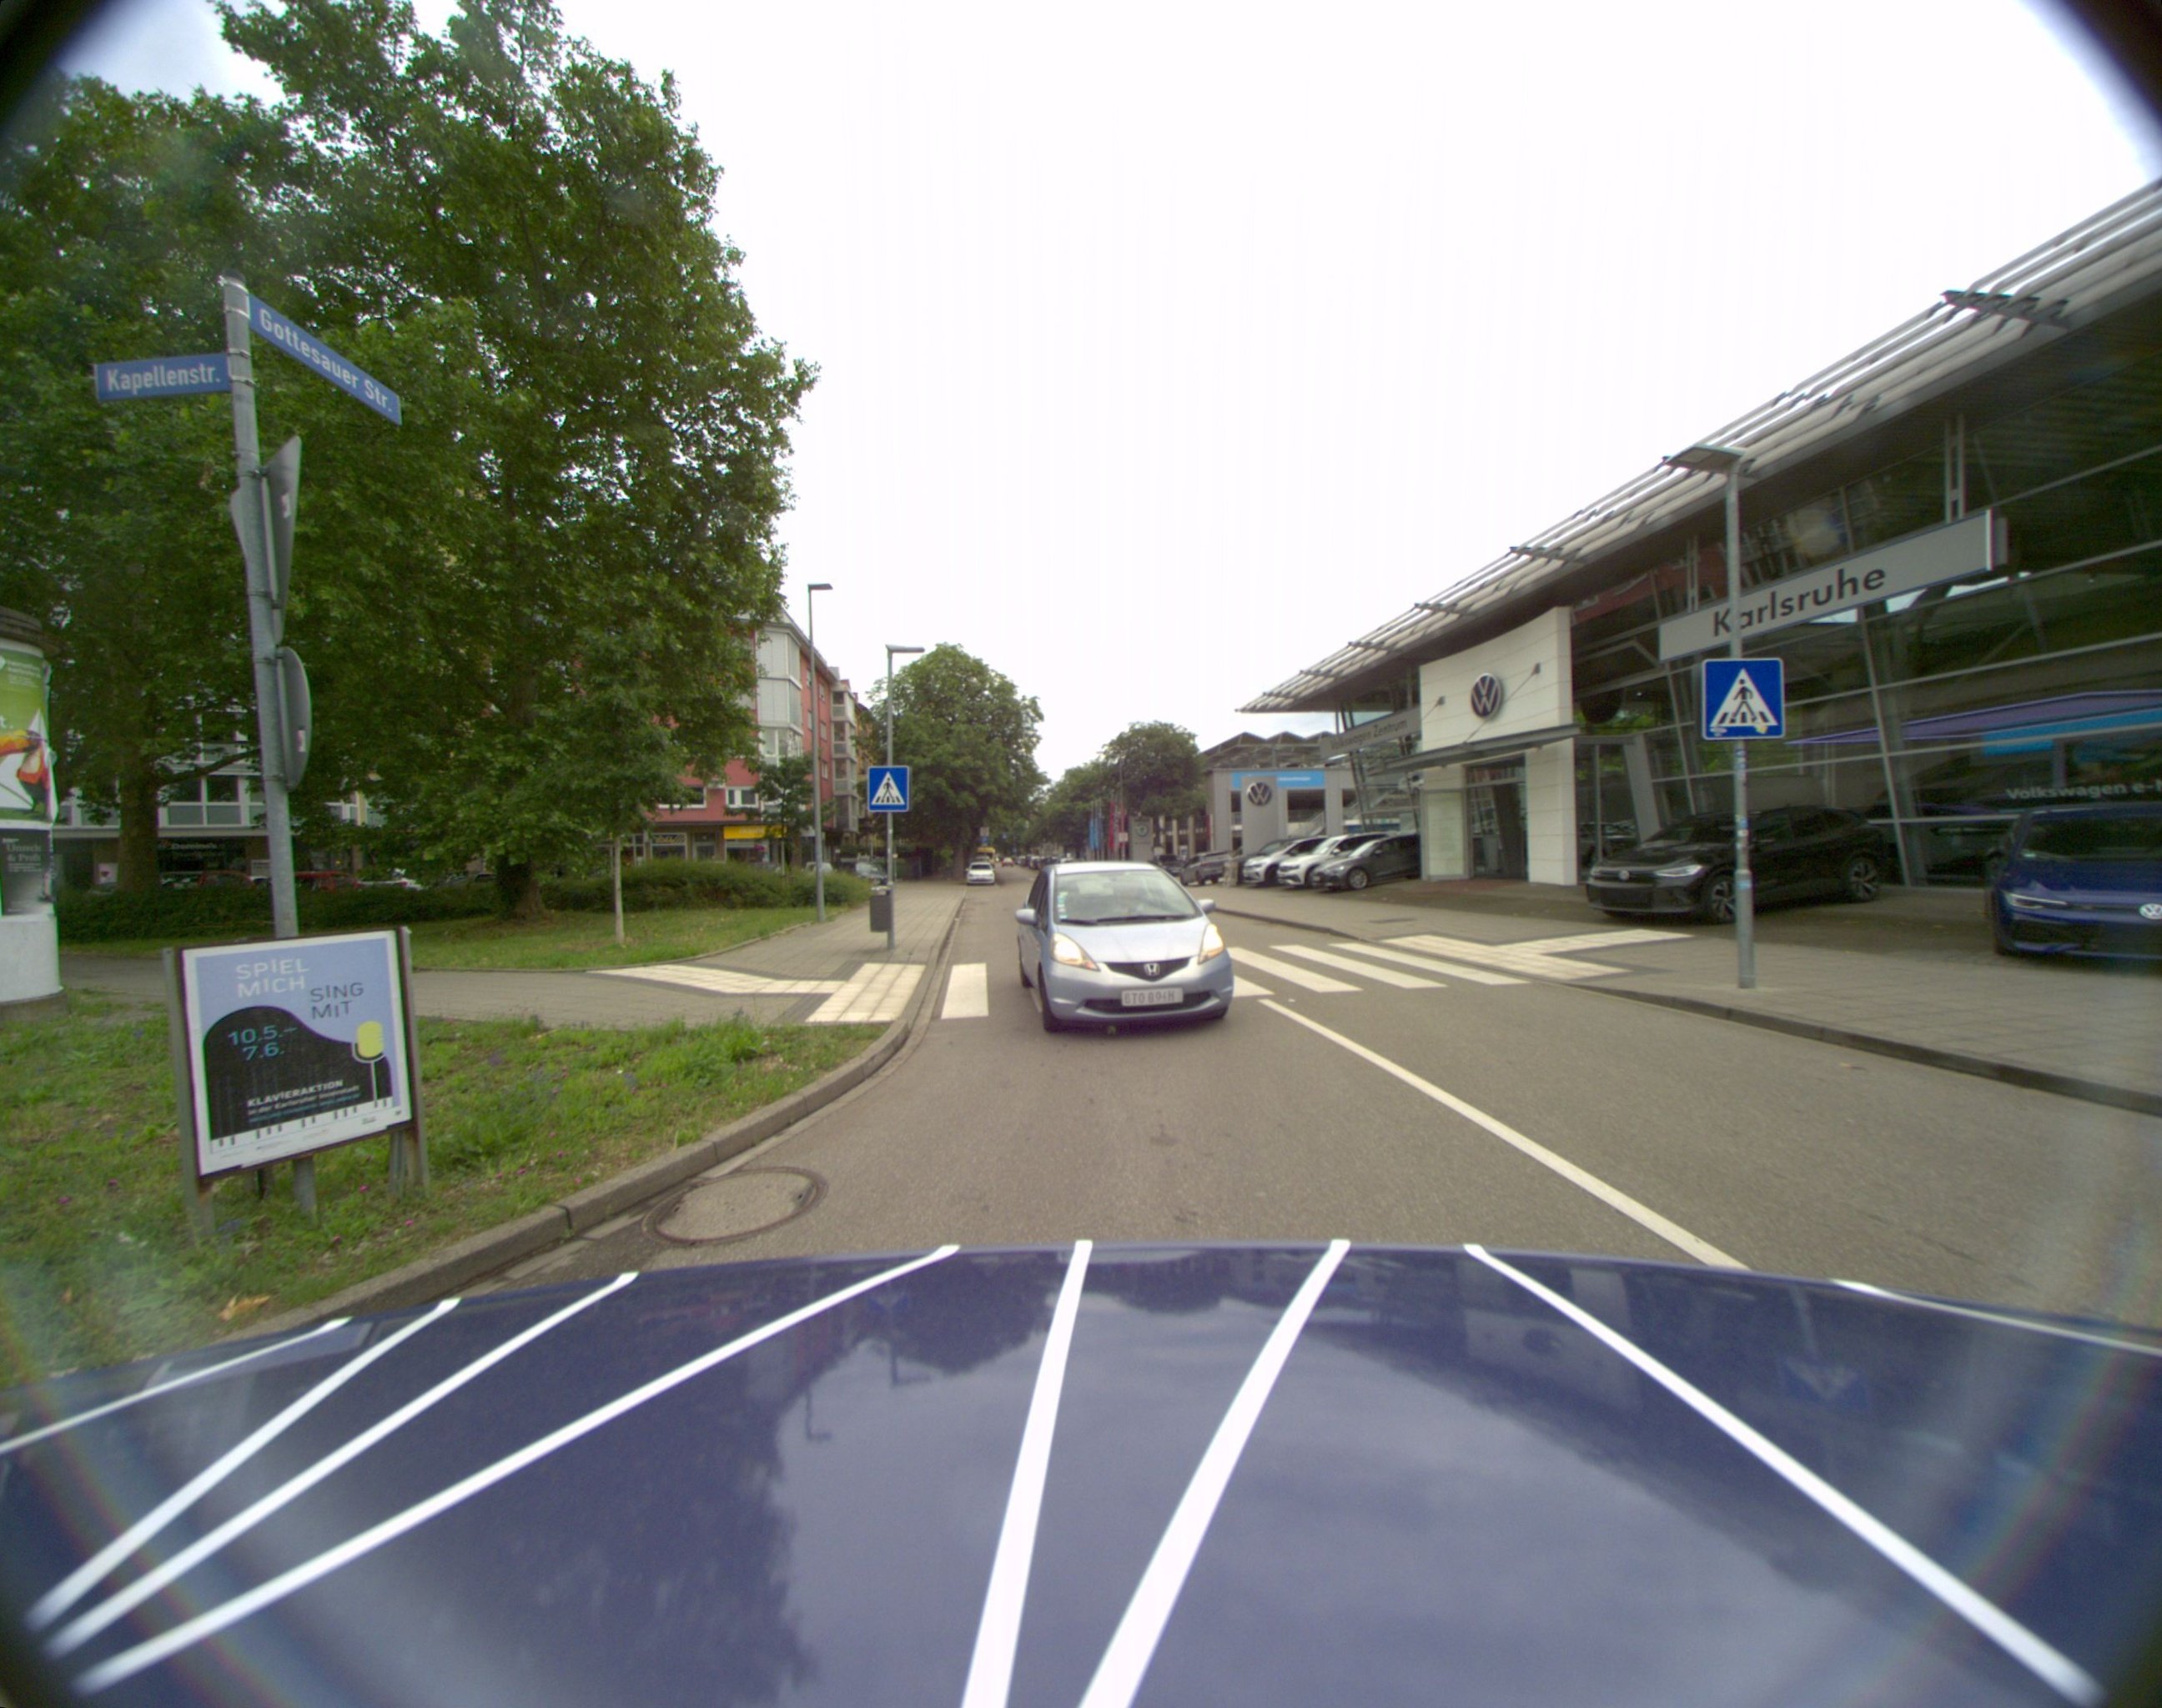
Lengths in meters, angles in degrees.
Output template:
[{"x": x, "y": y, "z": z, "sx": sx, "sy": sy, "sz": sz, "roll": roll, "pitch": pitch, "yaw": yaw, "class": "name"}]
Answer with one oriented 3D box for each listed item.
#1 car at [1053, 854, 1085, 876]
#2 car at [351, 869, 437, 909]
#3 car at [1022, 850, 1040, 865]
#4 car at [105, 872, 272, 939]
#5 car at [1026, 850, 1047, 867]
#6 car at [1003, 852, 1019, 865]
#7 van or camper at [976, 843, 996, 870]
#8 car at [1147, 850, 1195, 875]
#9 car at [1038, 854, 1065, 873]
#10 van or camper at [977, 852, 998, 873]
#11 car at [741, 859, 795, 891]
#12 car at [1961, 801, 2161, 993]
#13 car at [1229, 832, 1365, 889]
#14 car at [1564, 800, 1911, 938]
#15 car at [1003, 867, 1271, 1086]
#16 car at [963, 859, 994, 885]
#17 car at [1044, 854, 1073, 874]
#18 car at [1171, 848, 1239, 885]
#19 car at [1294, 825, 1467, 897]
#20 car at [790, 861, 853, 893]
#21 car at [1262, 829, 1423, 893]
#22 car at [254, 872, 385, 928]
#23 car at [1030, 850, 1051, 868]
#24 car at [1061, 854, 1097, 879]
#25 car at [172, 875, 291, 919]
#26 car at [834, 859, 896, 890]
[{"x": -1.029, "y": 0.876, "z": 62.144, "sx": 1.861, "sy": 1.614, "sz": 4.471, "roll": -3, "pitch": 1, "yaw": -10, "class": "car"}, {"x": -29.730, "y": 1.464, "z": 33.019, "sx": 1.864, "sy": 1.539, "sz": 4.465, "roll": -2, "pitch": 0, "yaw": -30, "class": "car"}, {"x": -7.238, "y": 0.479, "z": 110.060, "sx": 2.023, "sy": 1.974, "sz": 4.778, "roll": -3, "pitch": 1, "yaw": -10, "class": "car"}, {"x": -26.814, "y": 1.467, "z": 23.055, "sx": 1.864, "sy": 1.712, "sz": 4.465, "roll": -2, "pitch": 0, "yaw": -30, "class": "car"}, {"x": -5.628, "y": 0.565, "z": 95.263, "sx": 2.023, "sy": 1.974, "sz": 4.778, "roll": -3, "pitch": 1, "yaw": -10, "class": "car"}, {"x": -11.278, "y": 0.703, "z": 121.833, "sx": 2.023, "sy": 1.974, "sz": 4.778, "roll": -3, "pitch": 1, "yaw": -10, "class": "car"}, {"x": -10.153, "y": 0.295, "z": 81.254, "sx": 2.000, "sy": 2.756, "sz": 3.997, "roll": -2, "pitch": 0, "yaw": -7, "class": "van or camper"}, {"x": 5.982, "y": 0.533, "z": 50.921, "sx": 1.899, "sy": 1.539, "sz": 4.471, "roll": -3, "pitch": 1, "yaw": -10, "class": "car"}, {"x": -2.852, "y": 0.863, "z": 72.140, "sx": 1.861, "sy": 1.614, "sz": 4.471, "roll": -3, "pitch": 1, "yaw": -10, "class": "car"}, {"x": -9.432, "y": 0.791, "z": 76.381, "sx": 2.000, "sy": 2.002, "sz": 3.997, "roll": -2, "pitch": 0, "yaw": -7, "class": "van or camper"}, {"x": -16.463, "y": 1.077, "z": 39.801, "sx": 1.864, "sy": 1.539, "sz": 4.465, "roll": -2, "pitch": 0, "yaw": -32, "class": "car"}, {"x": 10.895, "y": 0.295, "z": 8.095, "sx": 4.346, "sy": 1.496, "sz": 1.853, "roll": -6, "pitch": 3, "yaw": -42, "class": "car"}, {"x": 8.187, "y": 0.235, "z": 28.992, "sx": 4.475, "sy": 1.689, "sz": 1.869, "roll": -5, "pitch": 0, "yaw": -7, "class": "car"}, {"x": 10.470, "y": 0.199, "z": 12.208, "sx": 4.510, "sy": 1.623, "sz": 1.859, "roll": -5, "pitch": 0, "yaw": -13, "class": "car"}, {"x": 0.243, "y": 0.936, "z": 7.741, "sx": 1.755, "sy": 1.458, "sz": 4.094, "roll": -3, "pitch": 0, "yaw": -9, "class": "car"}, {"x": -6.632, "y": 1.110, "z": 48.927, "sx": 1.861, "sy": 1.539, "sz": 4.472, "roll": 0, "pitch": 0, "yaw": -8, "class": "car"}, {"x": -2.009, "y": 0.872, "z": 67.294, "sx": 1.861, "sy": 1.614, "sz": 4.471, "roll": -3, "pitch": 1, "yaw": -10, "class": "car"}, {"x": 5.805, "y": 0.565, "z": 36.100, "sx": 1.920, "sy": 1.554, "sz": 4.011, "roll": -3, "pitch": 0, "yaw": -10, "class": "car"}, {"x": 9.125, "y": 0.208, "z": 23.300, "sx": 4.475, "sy": 1.687, "sz": 1.896, "roll": -5, "pitch": 0, "yaw": -8, "class": "car"}, {"x": -14.174, "y": 1.202, "z": 41.366, "sx": 1.864, "sy": 1.539, "sz": 4.463, "roll": -3, "pitch": 2, "yaw": -37, "class": "car"}, {"x": 8.889, "y": 0.228, "z": 26.019, "sx": 4.774, "sy": 1.689, "sz": 1.860, "roll": -5, "pitch": 0, "yaw": -8, "class": "car"}, {"x": -24.377, "y": 1.405, "z": 24.529, "sx": 1.864, "sy": 1.539, "sz": 4.465, "roll": -2, "pitch": 0, "yaw": -30, "class": "car"}, {"x": -4.772, "y": 0.580, "z": 89.581, "sx": 1.861, "sy": 1.974, "sz": 4.471, "roll": -3, "pitch": 1, "yaw": -10, "class": "car"}, {"x": -0.191, "y": 0.896, "z": 56.364, "sx": 1.861, "sy": 1.614, "sz": 4.471, "roll": -3, "pitch": 1, "yaw": -10, "class": "car"}, {"x": -33.785, "y": 1.641, "z": 30.384, "sx": 1.864, "sy": 1.481, "sz": 4.465, "roll": -2, "pitch": 0, "yaw": -30, "class": "car"}, {"x": -12.019, "y": 1.081, "z": 42.162, "sx": 1.864, "sy": 1.539, "sz": 4.463, "roll": -2, "pitch": 2, "yaw": -35, "class": "car"}]
